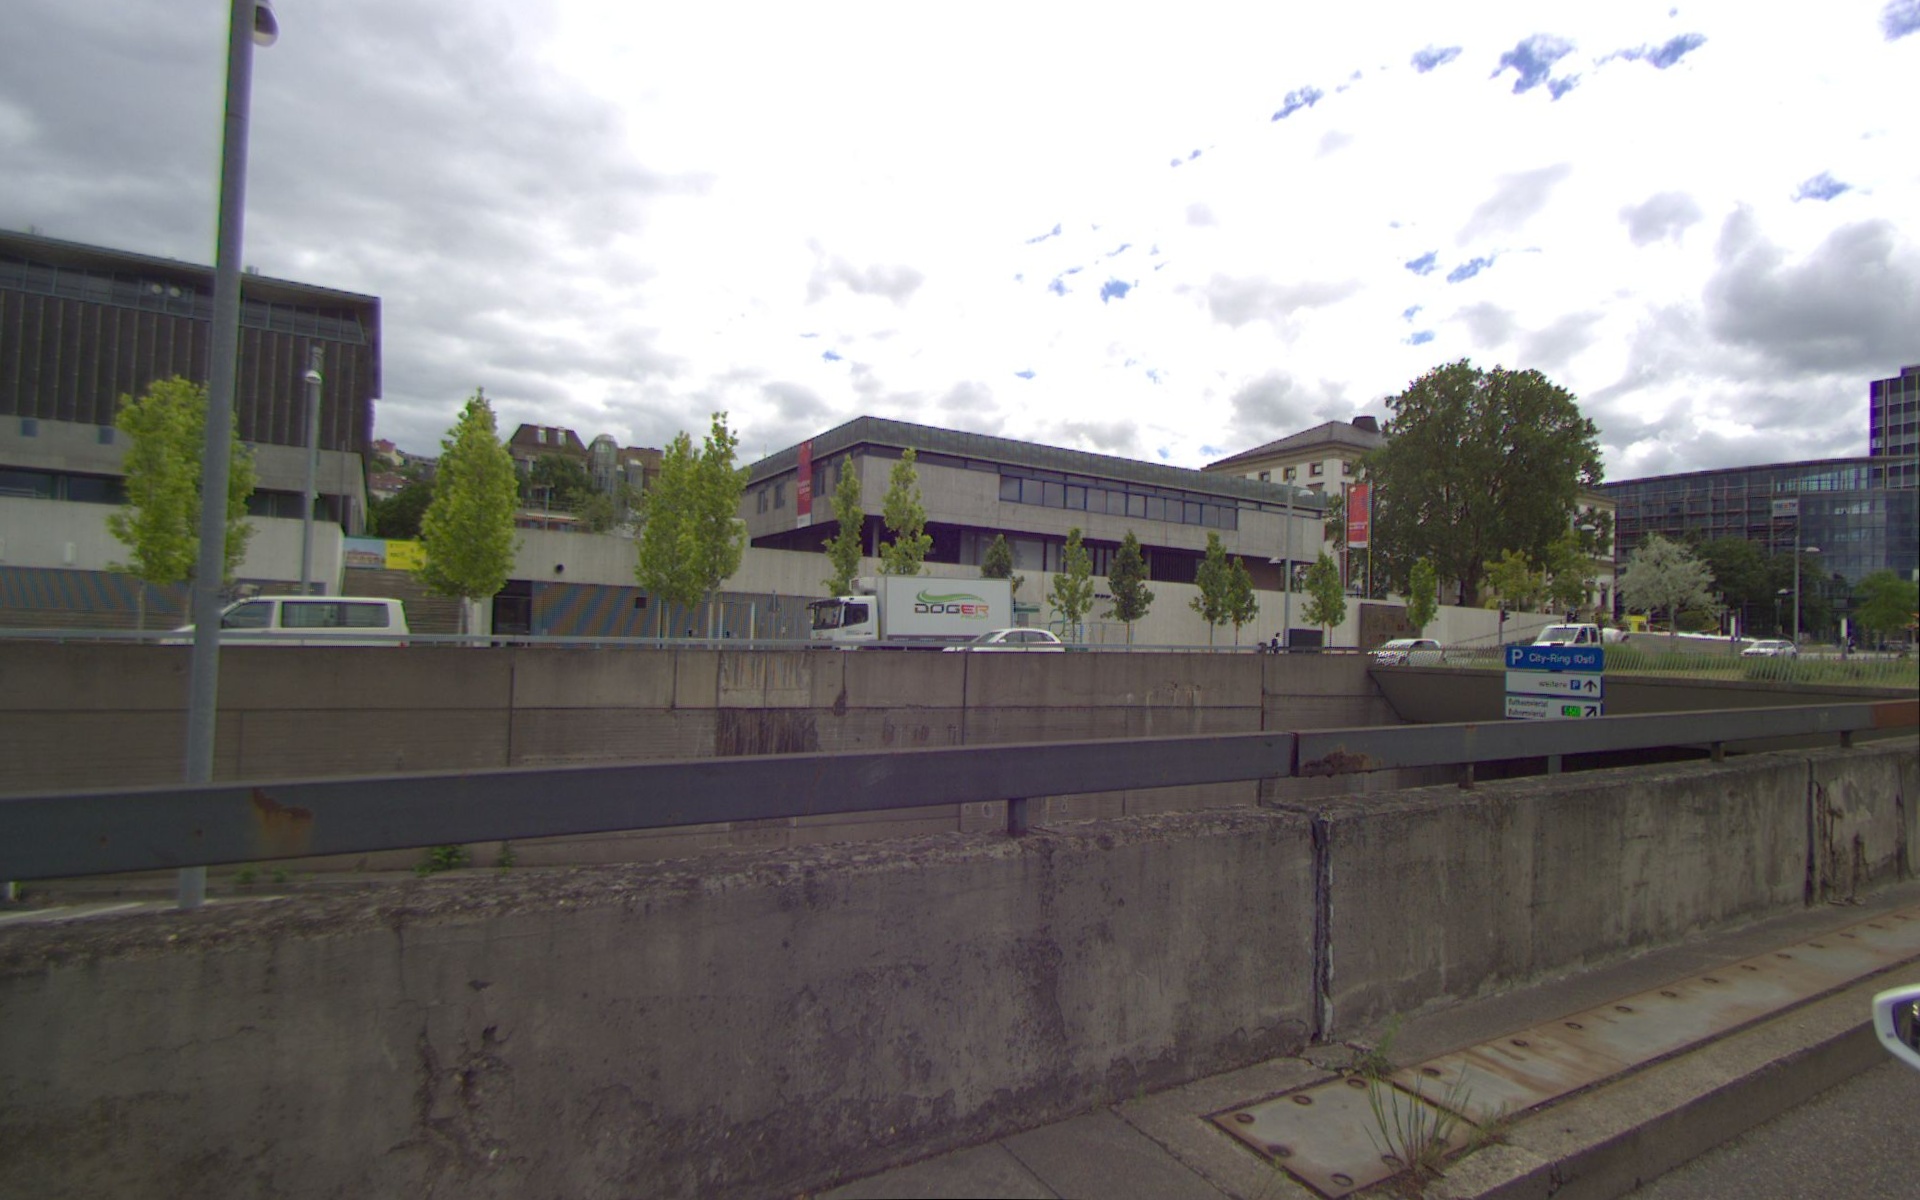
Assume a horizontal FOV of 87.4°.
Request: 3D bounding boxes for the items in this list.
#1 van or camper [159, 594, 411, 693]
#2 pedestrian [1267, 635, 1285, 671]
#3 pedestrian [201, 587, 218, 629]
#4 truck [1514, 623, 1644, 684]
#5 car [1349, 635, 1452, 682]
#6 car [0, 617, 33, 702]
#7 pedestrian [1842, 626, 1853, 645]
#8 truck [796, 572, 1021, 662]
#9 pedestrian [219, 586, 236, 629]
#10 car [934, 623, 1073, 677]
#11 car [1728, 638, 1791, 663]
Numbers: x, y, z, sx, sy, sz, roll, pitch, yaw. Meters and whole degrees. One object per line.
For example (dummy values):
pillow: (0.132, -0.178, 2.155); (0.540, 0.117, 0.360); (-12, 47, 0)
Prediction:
van or camper: (-14.954, 0.921, 22.608); (4.503, 2.040, 1.984); (1, 0, -30)
pedestrian: (15.817, 2.663, 50.323); (0.656, 1.757, 0.537); (1, 0, -30)
pedestrian: (-27.836, 0.309, 37.249); (0.457, 1.542, 0.377); (2, 0, -36)
truck: (30.931, 2.588, 50.117); (6.991, 2.854, 2.453); (1, 0, -29)
car: (18.883, 2.458, 43.048); (4.208, 1.840, 1.984); (1, -1, -30)
car: (-23.064, 1.287, 21.805); (3.953, 1.840, 1.984); (1, -1, -30)
pedestrian: (80.288, 3.184, 90.870); (0.643, 1.671, 0.521); (2, 0, -31)
truck: (-1.726, 0.598, 34.900); (7.172, 2.825, 3.214); (1, -1, -32)
pedestrian: (-26.747, 0.276, 36.667); (0.457, 1.542, 0.377); (2, 0, -36)
car: (1.421, 1.570, 32.297); (4.218, 1.595, 1.711); (1, 0, -29)
car: (53.437, 3.355, 67.158); (4.556, 1.595, 1.711); (1, -1, -29)
